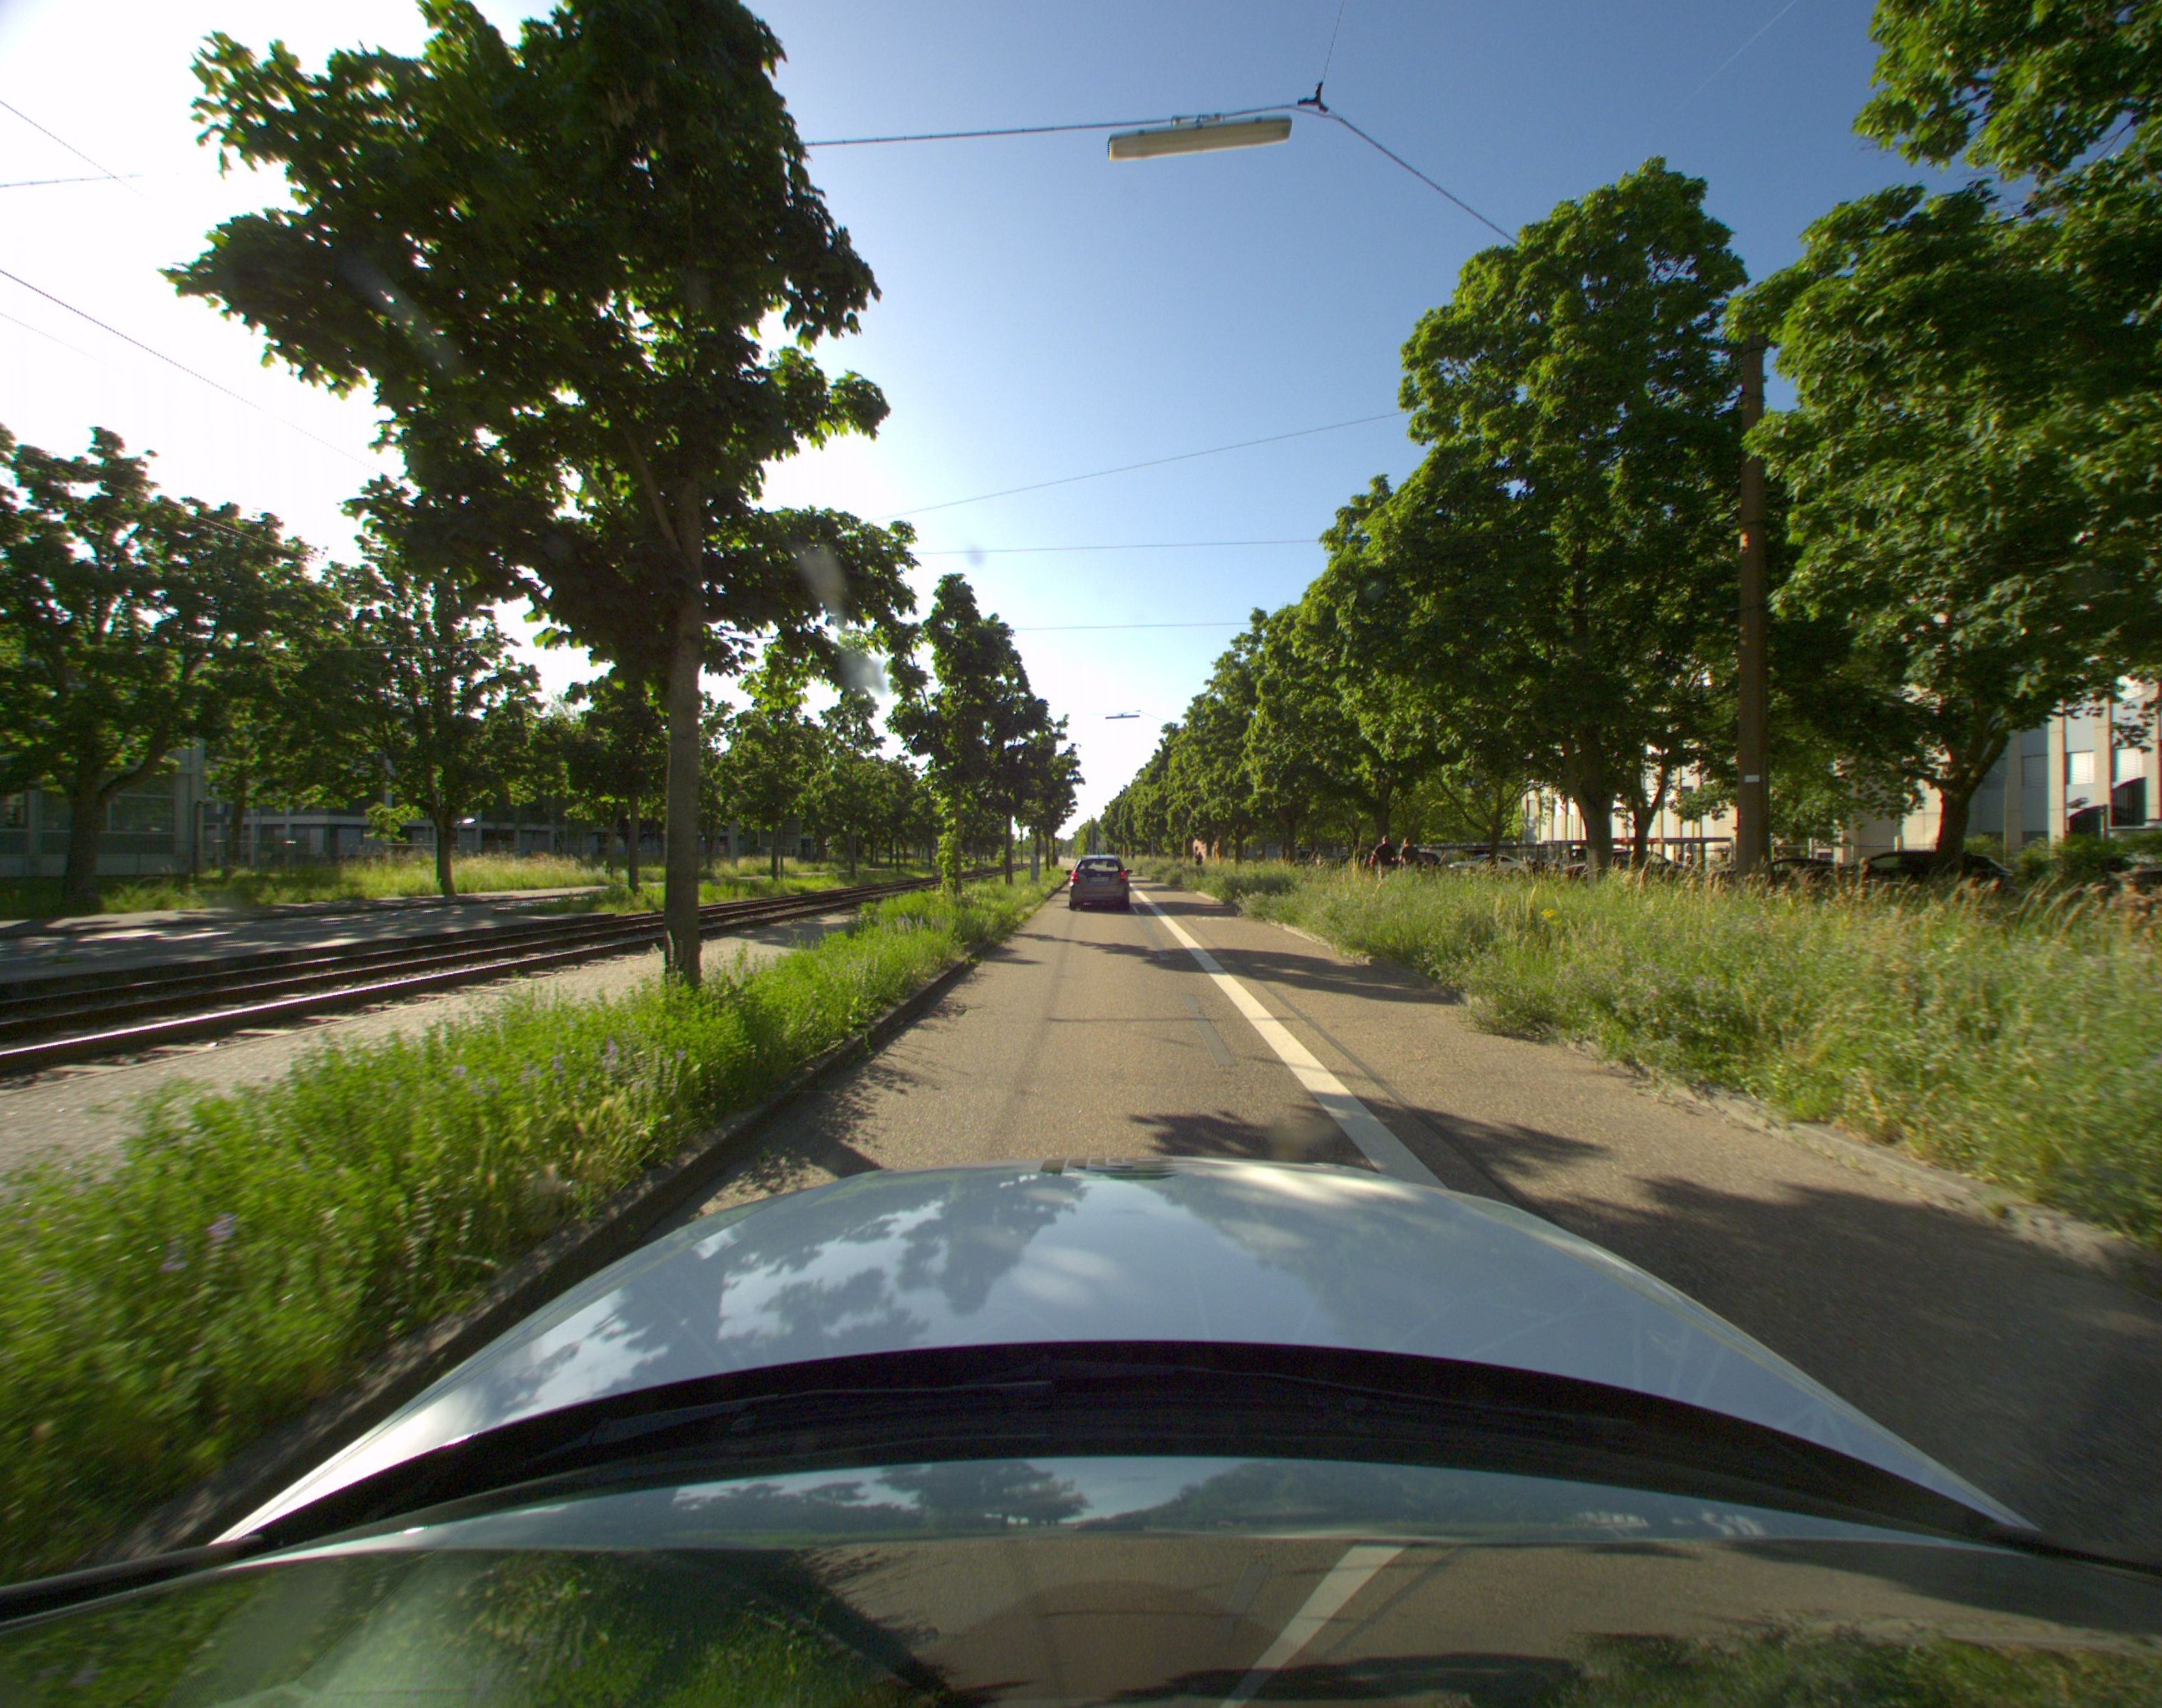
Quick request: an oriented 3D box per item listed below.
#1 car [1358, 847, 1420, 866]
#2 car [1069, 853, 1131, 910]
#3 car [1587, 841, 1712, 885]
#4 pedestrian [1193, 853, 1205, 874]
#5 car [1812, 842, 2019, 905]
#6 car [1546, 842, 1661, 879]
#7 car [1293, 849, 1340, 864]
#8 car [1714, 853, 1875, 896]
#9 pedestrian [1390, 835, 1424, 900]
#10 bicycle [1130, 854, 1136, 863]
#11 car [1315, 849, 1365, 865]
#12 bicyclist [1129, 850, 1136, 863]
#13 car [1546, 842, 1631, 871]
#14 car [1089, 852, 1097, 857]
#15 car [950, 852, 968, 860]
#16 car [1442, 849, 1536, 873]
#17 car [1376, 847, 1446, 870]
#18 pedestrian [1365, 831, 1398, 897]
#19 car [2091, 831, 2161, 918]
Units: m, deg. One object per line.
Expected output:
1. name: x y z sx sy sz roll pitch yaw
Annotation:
1. car: 24.401 0.189 64.639 4.272 1.324 1.943 -1 1 5
2. car: 0.482 0.731 23.412 1.620 1.499 3.454 0 0 -1
3. car: 23.801 0.348 34.152 4.334 1.700 1.760 -1 0 -9
4. pedestrian: 8.553 0.683 58.986 0.821 1.569 0.762 0 0 1
5. car: 23.631 0.512 23.301 3.936 1.638 1.734 0 0 38
6. car: 23.335 0.278 36.405 4.229 1.536 1.760 -1 0 -9
7. car: 24.039 0.251 83.155 4.337 1.459 1.690 0 0 3
8. car: 23.553 0.632 27.100 3.936 1.341 1.719 0 0 38
9. pedestrian: 9.730 0.396 24.314 0.705 1.930 0.817 0 0 2
10. bicycle: 6.901 0.646 108.836 0.482 1.204 2.139 0 -2 -6
11. car: 24.107 0.285 76.022 4.147 1.432 1.826 0 0 3
12. bicyclist: 6.888 0.339 108.814 0.682 1.720 0.900 0 -1 -8
13. car: 35.587 0.135 57.197 4.734 1.950 1.974 -1 0 -1
14. car: 3.501 0.083 236.701 1.772 1.386 3.862 -1 0 -6
15. car: -33.682 0.555 225.088 1.837 1.974 4.817 0 0 38
16. car: 23.982 0.392 47.925 4.685 1.271 1.806 -1 1 -3
17. car: 24.057 0.308 59.386 4.382 1.596 1.882 0 0 -3
18. pedestrian: 8.957 0.290 24.292 0.705 1.918 0.817 0 0 2
19. car: 23.569 0.420 15.464 1.929 1.752 5.391 0 0 -42
